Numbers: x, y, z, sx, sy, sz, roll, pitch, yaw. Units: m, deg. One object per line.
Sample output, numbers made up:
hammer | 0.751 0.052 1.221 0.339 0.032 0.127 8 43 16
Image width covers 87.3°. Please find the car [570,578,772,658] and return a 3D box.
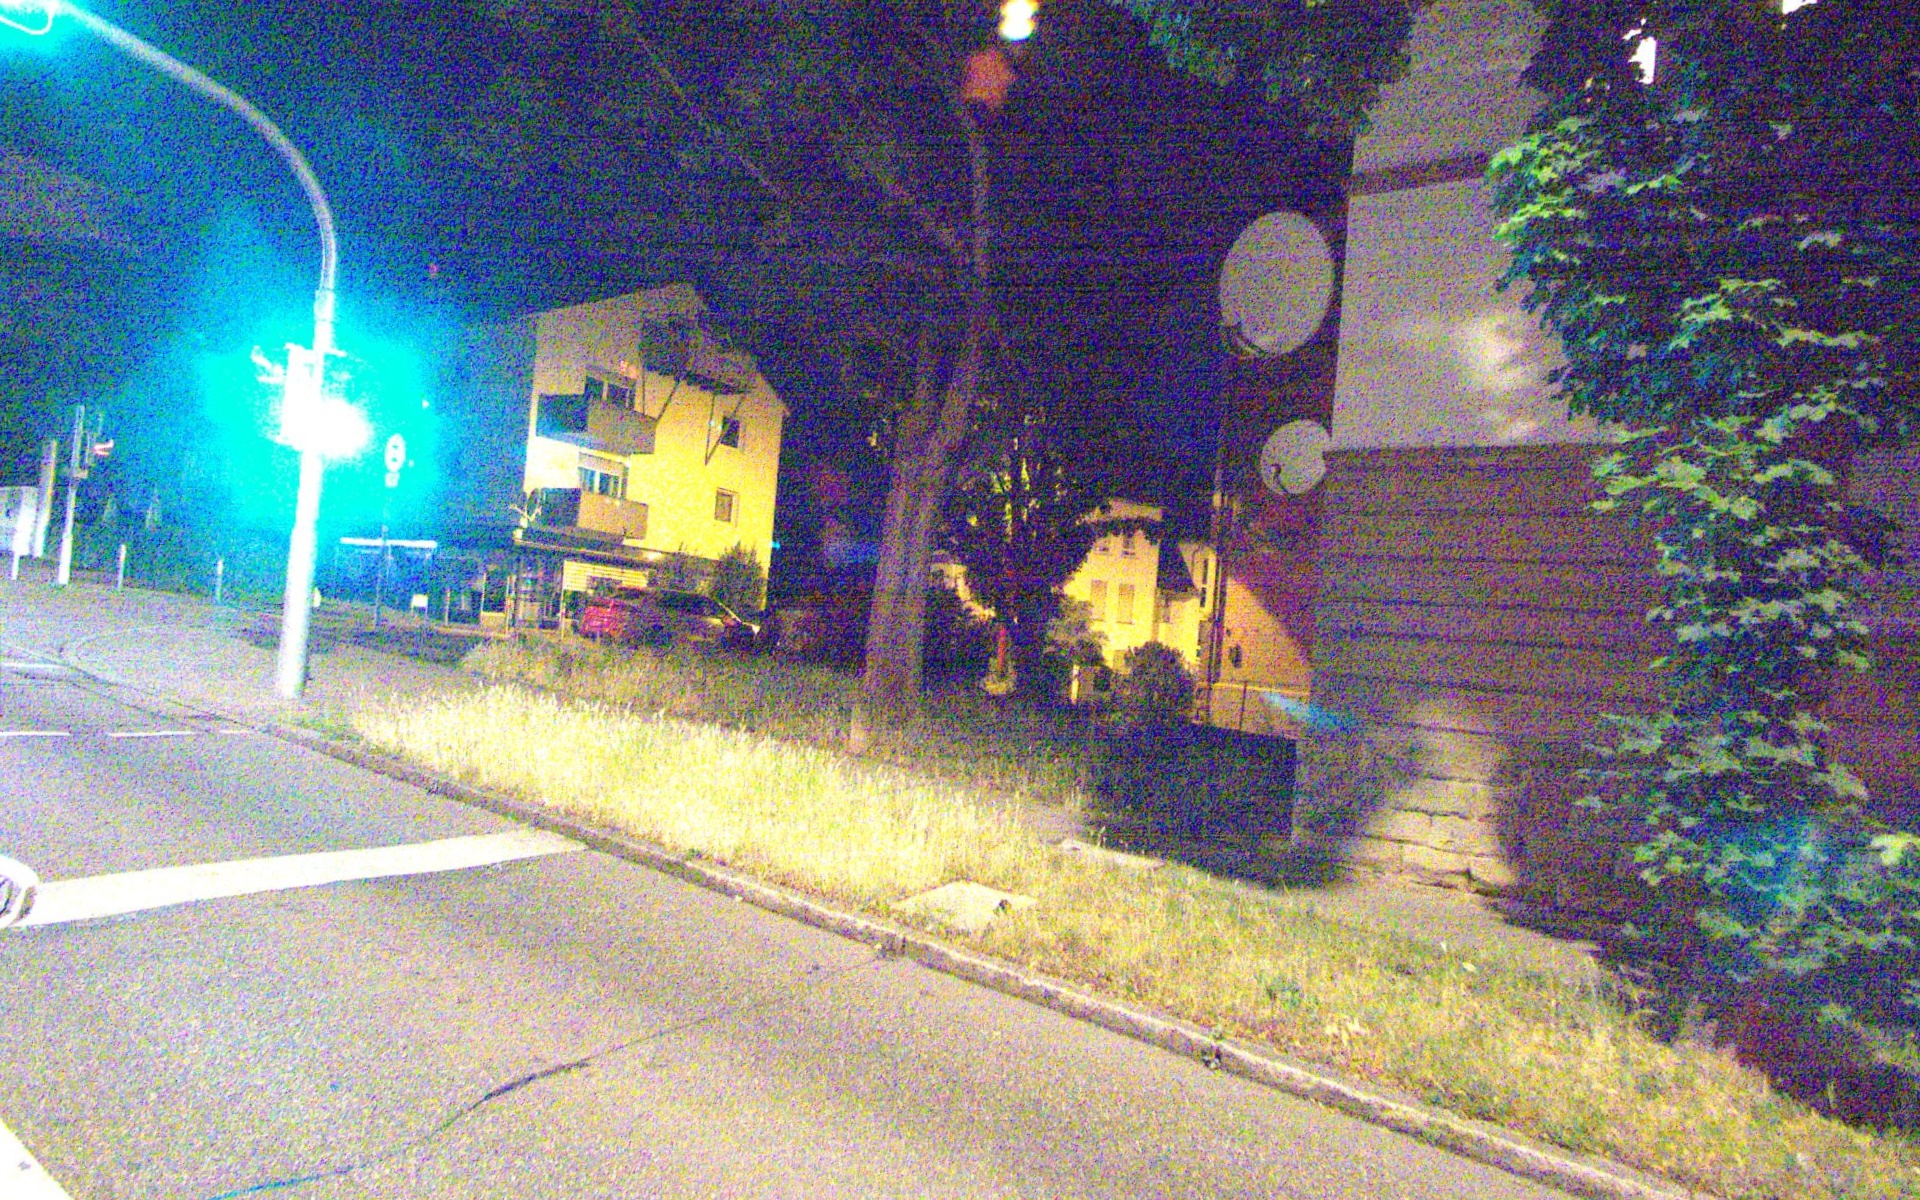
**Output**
car | -6.550 0.452 23.177 1.740 1.295 4.131 6 -3 39
